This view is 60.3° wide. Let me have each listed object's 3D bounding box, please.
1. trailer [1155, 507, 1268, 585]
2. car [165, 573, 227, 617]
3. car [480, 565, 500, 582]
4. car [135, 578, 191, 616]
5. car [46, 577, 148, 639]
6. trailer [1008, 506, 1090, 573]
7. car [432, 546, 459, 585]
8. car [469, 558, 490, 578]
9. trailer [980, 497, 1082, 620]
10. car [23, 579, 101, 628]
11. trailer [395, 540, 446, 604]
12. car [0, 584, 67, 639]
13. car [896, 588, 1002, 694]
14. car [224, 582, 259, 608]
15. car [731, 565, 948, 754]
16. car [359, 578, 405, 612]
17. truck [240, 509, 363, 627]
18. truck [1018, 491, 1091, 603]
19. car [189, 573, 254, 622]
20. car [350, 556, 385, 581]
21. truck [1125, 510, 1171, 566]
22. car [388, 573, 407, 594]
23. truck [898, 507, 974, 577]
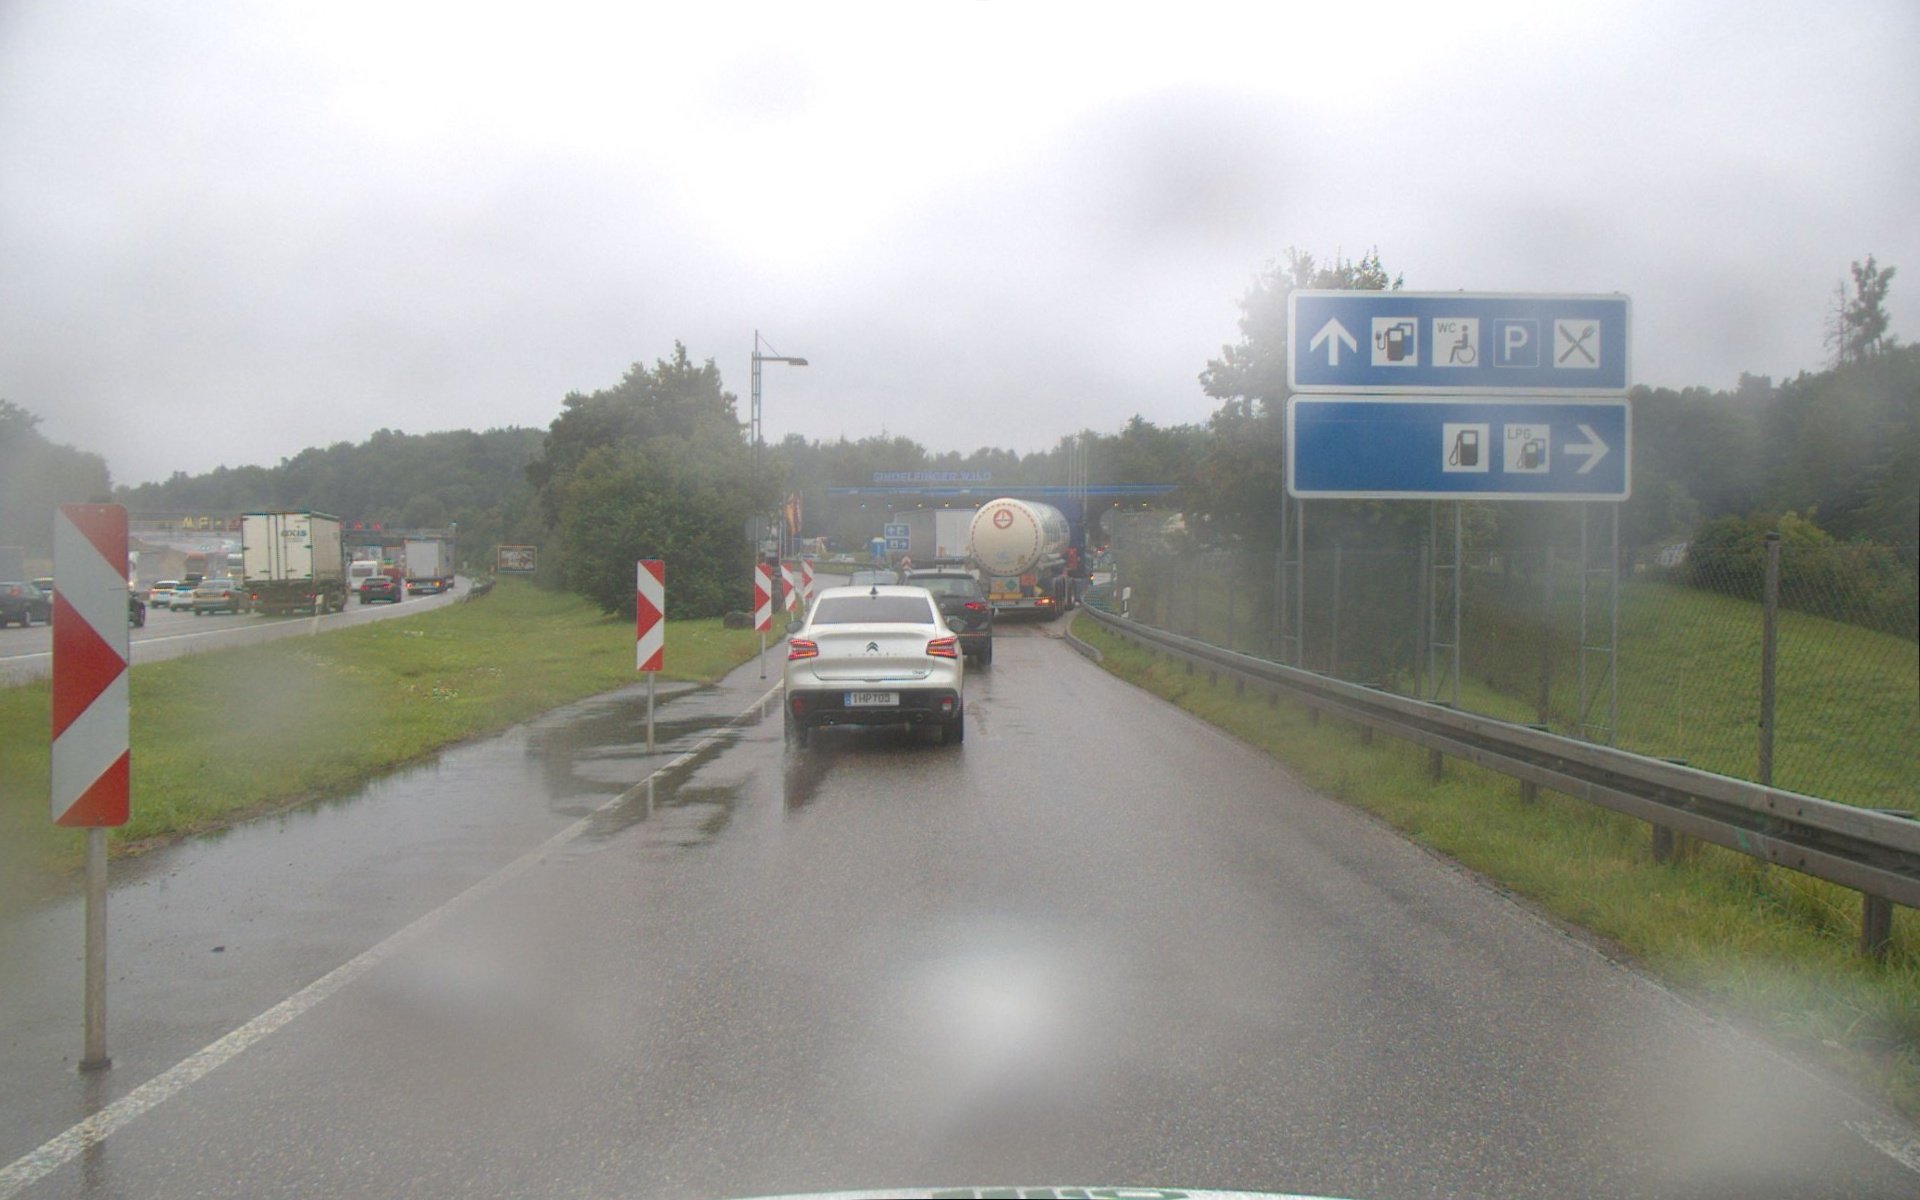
[{"bbox_3d":[12.278,-2.640,79.872,2.090,3.500,10.240,0,2,28],"label":"trailer"},{"bbox_3d":[-37.963,-0.242,82.251,1.959,2.049,3.987,2,0,-13],"label":"car"},{"bbox_3d":[-56.976,-3.199,200.478,1.964,2.049,3.978,3,0,-19],"label":"car"},{"bbox_3d":[-44.605,-0.204,92.669,1.959,2.049,3.987,-1,1,-13],"label":"car"},{"bbox_3d":[-26.051,0.215,50.058,1.745,1.766,3.835,-1,1,-12],"label":"car"},{"bbox_3d":[5.902,-4.127,112.382,3.156,4.261,11.507,0,2,-9],"label":"trailer"},{"bbox_3d":[-49.395,-3.280,158.844,2.335,3.546,4.791,2,0,-18],"label":"car"},{"bbox_3d":[-52.687,-3.462,181.275,1.964,2.049,3.978,3,0,-19],"label":"car"},{"bbox_3d":[2.259,-1.275,49.081,1.938,3.280,10.332,0,2,8],"label":"trailer"},{"bbox_3d":[-39.515,0.128,72.896,1.959,2.049,3.987,-1,0,-13],"label":"car"},{"bbox_3d":[-41.677,-2.097,128.050,3.493,4.692,12.059,-1,1,-18],"label":"trailer"},{"bbox_3d":[-31.145,0.357,54.667,1.744,1.766,4.088,-1,1,-12],"label":"car"},{"bbox_3d":[-0.189,0.680,29.480,1.707,1.696,4.000,2,0,0],"label":"car"},{"bbox_3d":[-50.910,-0.379,117.278,1.669,1.818,3.771,1,0,-15],"label":"car"},{"bbox_3d":[-1.150,0.525,16.963,1.953,1.708,3.999,0,0,-2],"label":"car"},{"bbox_3d":[-32.243,-0.325,92.327,1.959,1.847,3.987,0,1,-13],"label":"car"},{"bbox_3d":[-26.948,-1.211,68.281,2.800,4.367,11.803,-2,0,-13],"label":"truck"},{"bbox_3d":[3.226,-1.782,55.651,2.009,3.592,4.751,0,2,9],"label":"truck"},{"bbox_3d":[-31.395,-0.131,70.384,1.758,2.006,4.319,0,0,-14],"label":"car"},{"bbox_3d":[-46.614,-2.459,130.166,1.958,1.847,3.990,2,0,-11],"label":"car"},{"bbox_3d":[13.314,-4.422,117.445,2.379,3.871,3.995,-1,3,-7],"label":"truck"},{"bbox_3d":[-60.703,-1.777,178.424,1.649,2.048,3.977,6,-2,-19],"label":"car"},{"bbox_3d":[-1.598,-3.514,99.739,2.328,3.941,12.422,-1,2,-11],"label":"truck"}]
